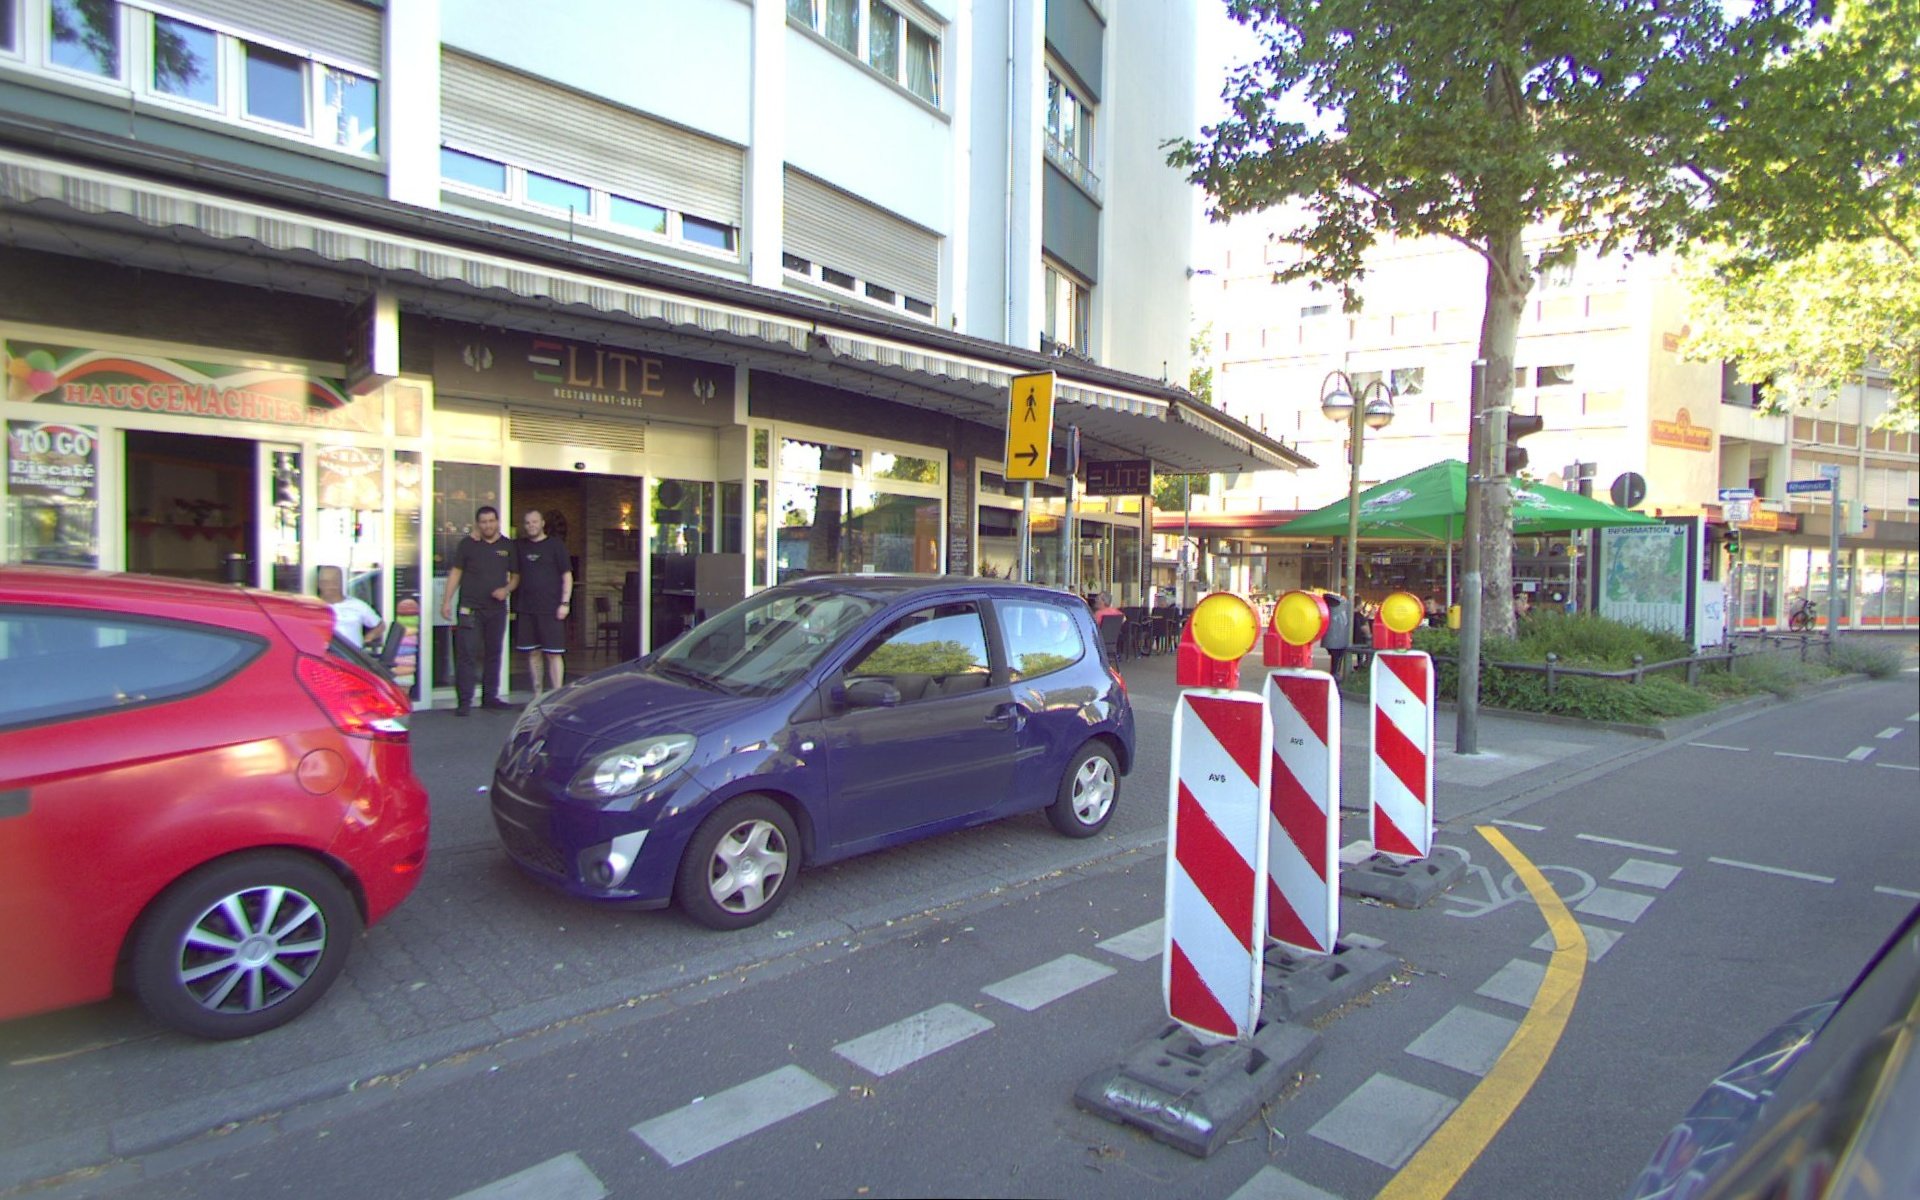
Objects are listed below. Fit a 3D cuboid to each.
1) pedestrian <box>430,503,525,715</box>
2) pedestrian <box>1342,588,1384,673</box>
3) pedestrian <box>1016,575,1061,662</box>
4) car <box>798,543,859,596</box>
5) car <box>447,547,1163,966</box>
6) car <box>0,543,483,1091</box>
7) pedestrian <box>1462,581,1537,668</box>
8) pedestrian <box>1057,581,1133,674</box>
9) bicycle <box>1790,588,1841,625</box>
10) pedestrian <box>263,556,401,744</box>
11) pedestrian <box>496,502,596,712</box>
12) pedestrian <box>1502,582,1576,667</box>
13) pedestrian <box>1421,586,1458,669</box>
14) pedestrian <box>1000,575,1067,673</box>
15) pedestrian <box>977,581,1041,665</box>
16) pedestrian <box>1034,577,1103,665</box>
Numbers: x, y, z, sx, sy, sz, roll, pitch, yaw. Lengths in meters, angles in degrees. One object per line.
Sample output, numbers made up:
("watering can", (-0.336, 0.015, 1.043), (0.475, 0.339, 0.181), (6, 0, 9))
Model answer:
("pedestrian", (-4.201, 0.059, 8.801), (0.586, 1.756, 0.589), (1, 3, -38))
("pedestrian", (5.963, 0.449, 15.002), (0.460, 1.235, 0.432), (1, 0, 5))
("pedestrian", (1.180, 0.272, 15.288), (0.541, 1.259, 0.521), (2, 1, -7))
("car", (-4.637, -1.075, 36.176), (1.960, 1.771, 4.004), (1, 1, -5))
("car", (-0.629, 0.533, 5.508), (3.545, 1.484, 1.621), (0, 4, -44))
("car", (-3.630, 0.566, 2.862), (1.667, 1.446, 3.786), (5, 4, 44))
("pedestrian", (8.432, 0.369, 15.831), (0.752, 1.301, 0.721), (0, 1, -27))
("pedestrian", (1.870, 0.365, 14.037), (0.838, 1.213, 0.644), (3, 1, 27))
("bicycle", (28.139, 0.206, 33.264), (1.933, 1.157, 0.530), (0, 1, -26))
("pedestrian", (-4.809, 0.322, 7.722), (0.765, 1.247, 1.207), (-1, 5, -38))
("pedestrian", (-3.685, 0.044, 9.006), (0.635, 1.780, 0.612), (1, 3, -37))
("pedestrian", (9.282, 0.378, 16.234), (0.753, 1.301, 0.720), (0, 1, -28))
("pedestrian", (7.469, 0.416, 15.781), (0.427, 1.234, 0.465), (3, 2, 20))
("pedestrian", (1.006, 0.313, 13.762), (0.644, 1.267, 0.711), (3, 1, 25))
("pedestrian", (0.717, 0.319, 14.666), (0.710, 1.144, 0.645), (3, 1, 25))
("pedestrian", (1.601, 0.295, 14.928), (0.664, 1.233, 0.706), (3, 1, 43))
